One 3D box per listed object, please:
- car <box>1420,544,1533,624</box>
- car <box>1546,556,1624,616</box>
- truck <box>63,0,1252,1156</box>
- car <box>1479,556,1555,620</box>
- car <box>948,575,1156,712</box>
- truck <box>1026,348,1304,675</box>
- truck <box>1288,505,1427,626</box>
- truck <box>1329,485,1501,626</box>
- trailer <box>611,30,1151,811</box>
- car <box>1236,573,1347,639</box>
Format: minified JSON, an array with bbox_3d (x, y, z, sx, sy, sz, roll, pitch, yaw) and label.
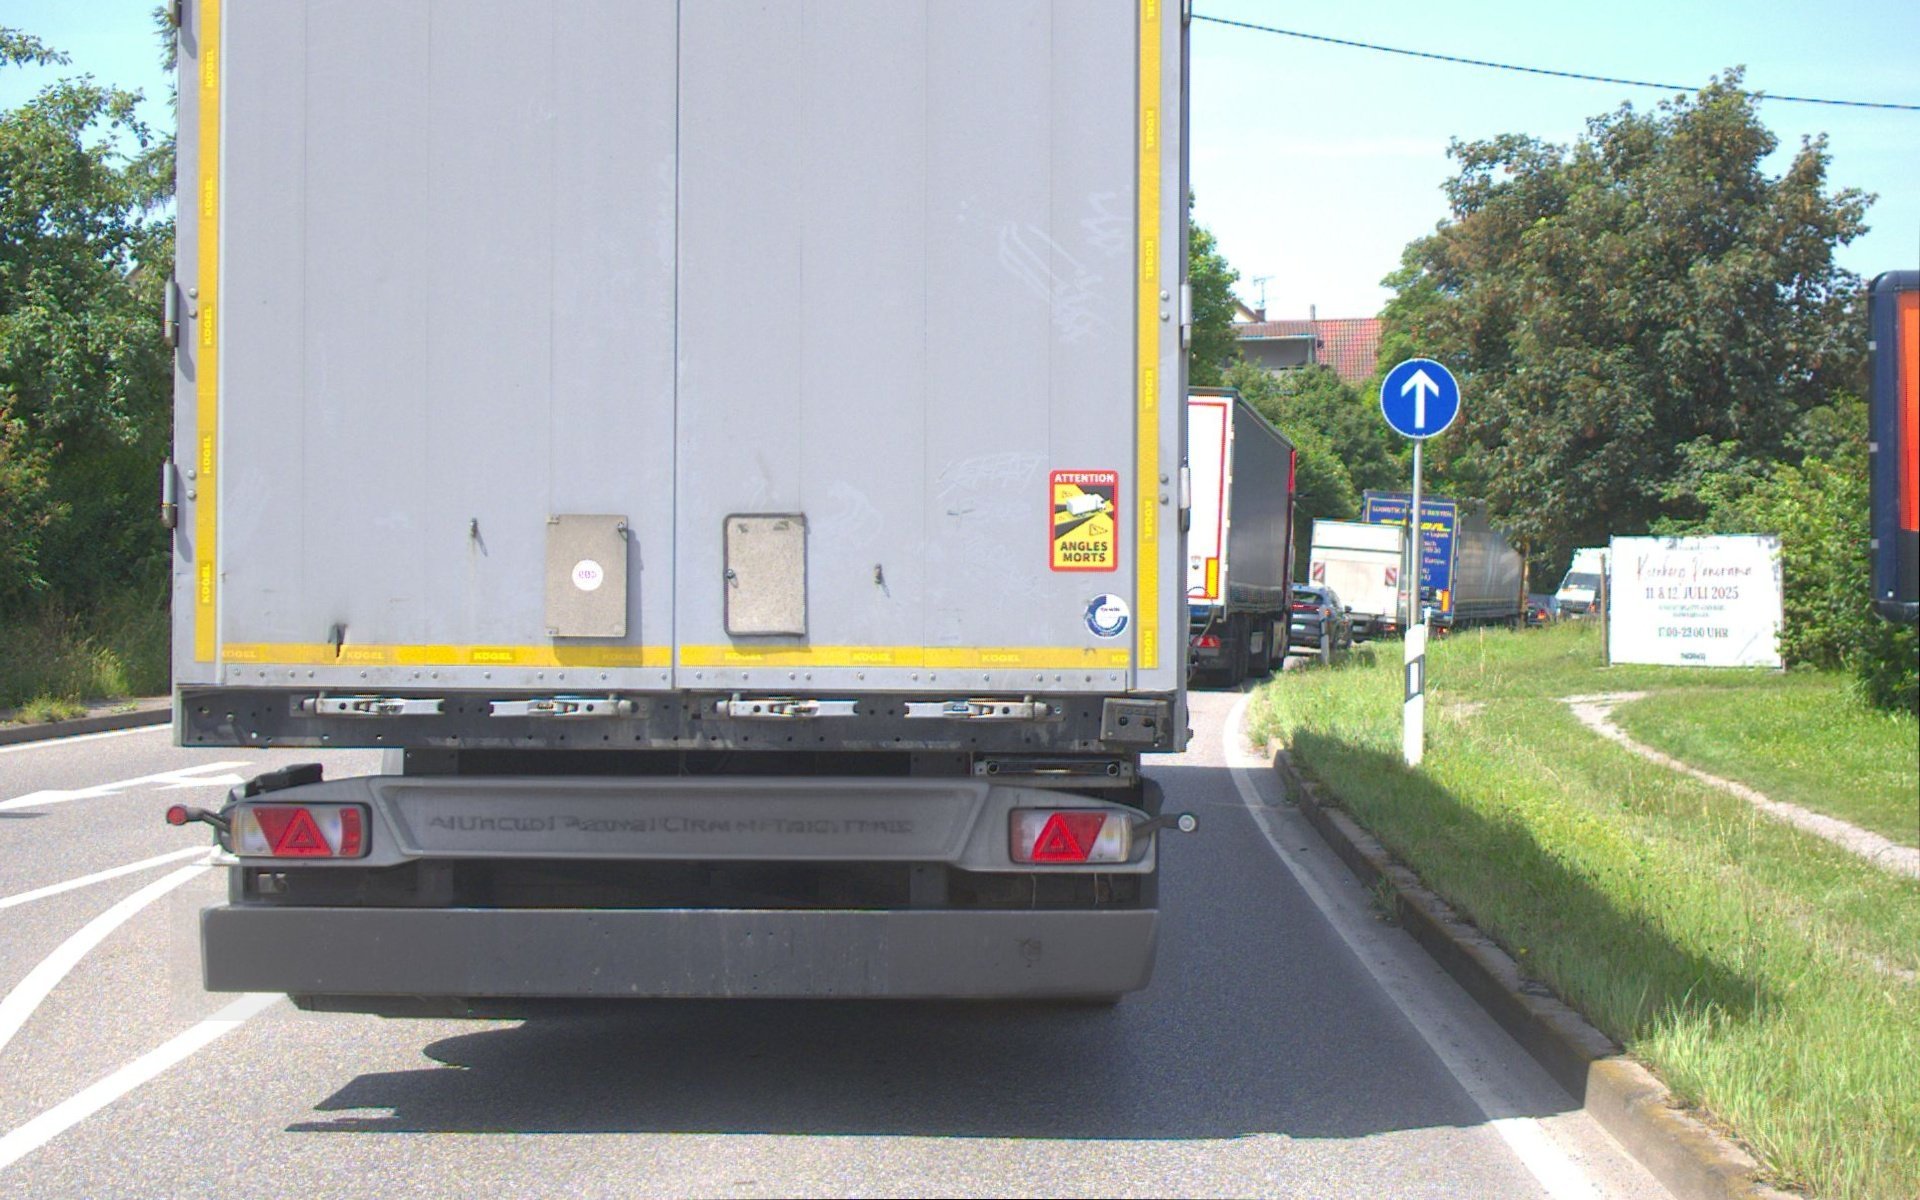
[{"bbox_3d":[15.330,-0.510,101.758,2.533,2.269,6.376,1,1,15],"label":"car"},{"bbox_3d":[21.634,-0.479,118.892,1.995,2.007,3.996,1,0,20],"label":"car"},{"bbox_3d":[-0.542,-0.859,13.940,2.822,4.113,11.443,1,1,2],"label":"truck"},{"bbox_3d":[17.952,-0.379,110.700,1.995,2.007,3.997,1,0,15],"label":"car"},{"bbox_3d":[1.030,0.431,36.378,1.819,1.342,3.846,1,0,7],"label":"car"},{"bbox_3d":[3.505,-1.172,53.457,2.761,4.274,16.409,1,0,9],"label":"truck"},{"bbox_3d":[9.671,-0.797,83.213,2.545,2.793,6.028,1,0,14],"label":"truck"},{"bbox_3d":[12.462,-1.262,93.321,3.435,3.592,9.347,1,1,15],"label":"truck"},{"bbox_3d":[-0.288,-1.010,21.386,2.825,4.097,6.544,0,1,2],"label":"trailer"},{"bbox_3d":[7.255,0.129,74.948,1.994,1.371,3.998,1,0,11],"label":"car"}]
